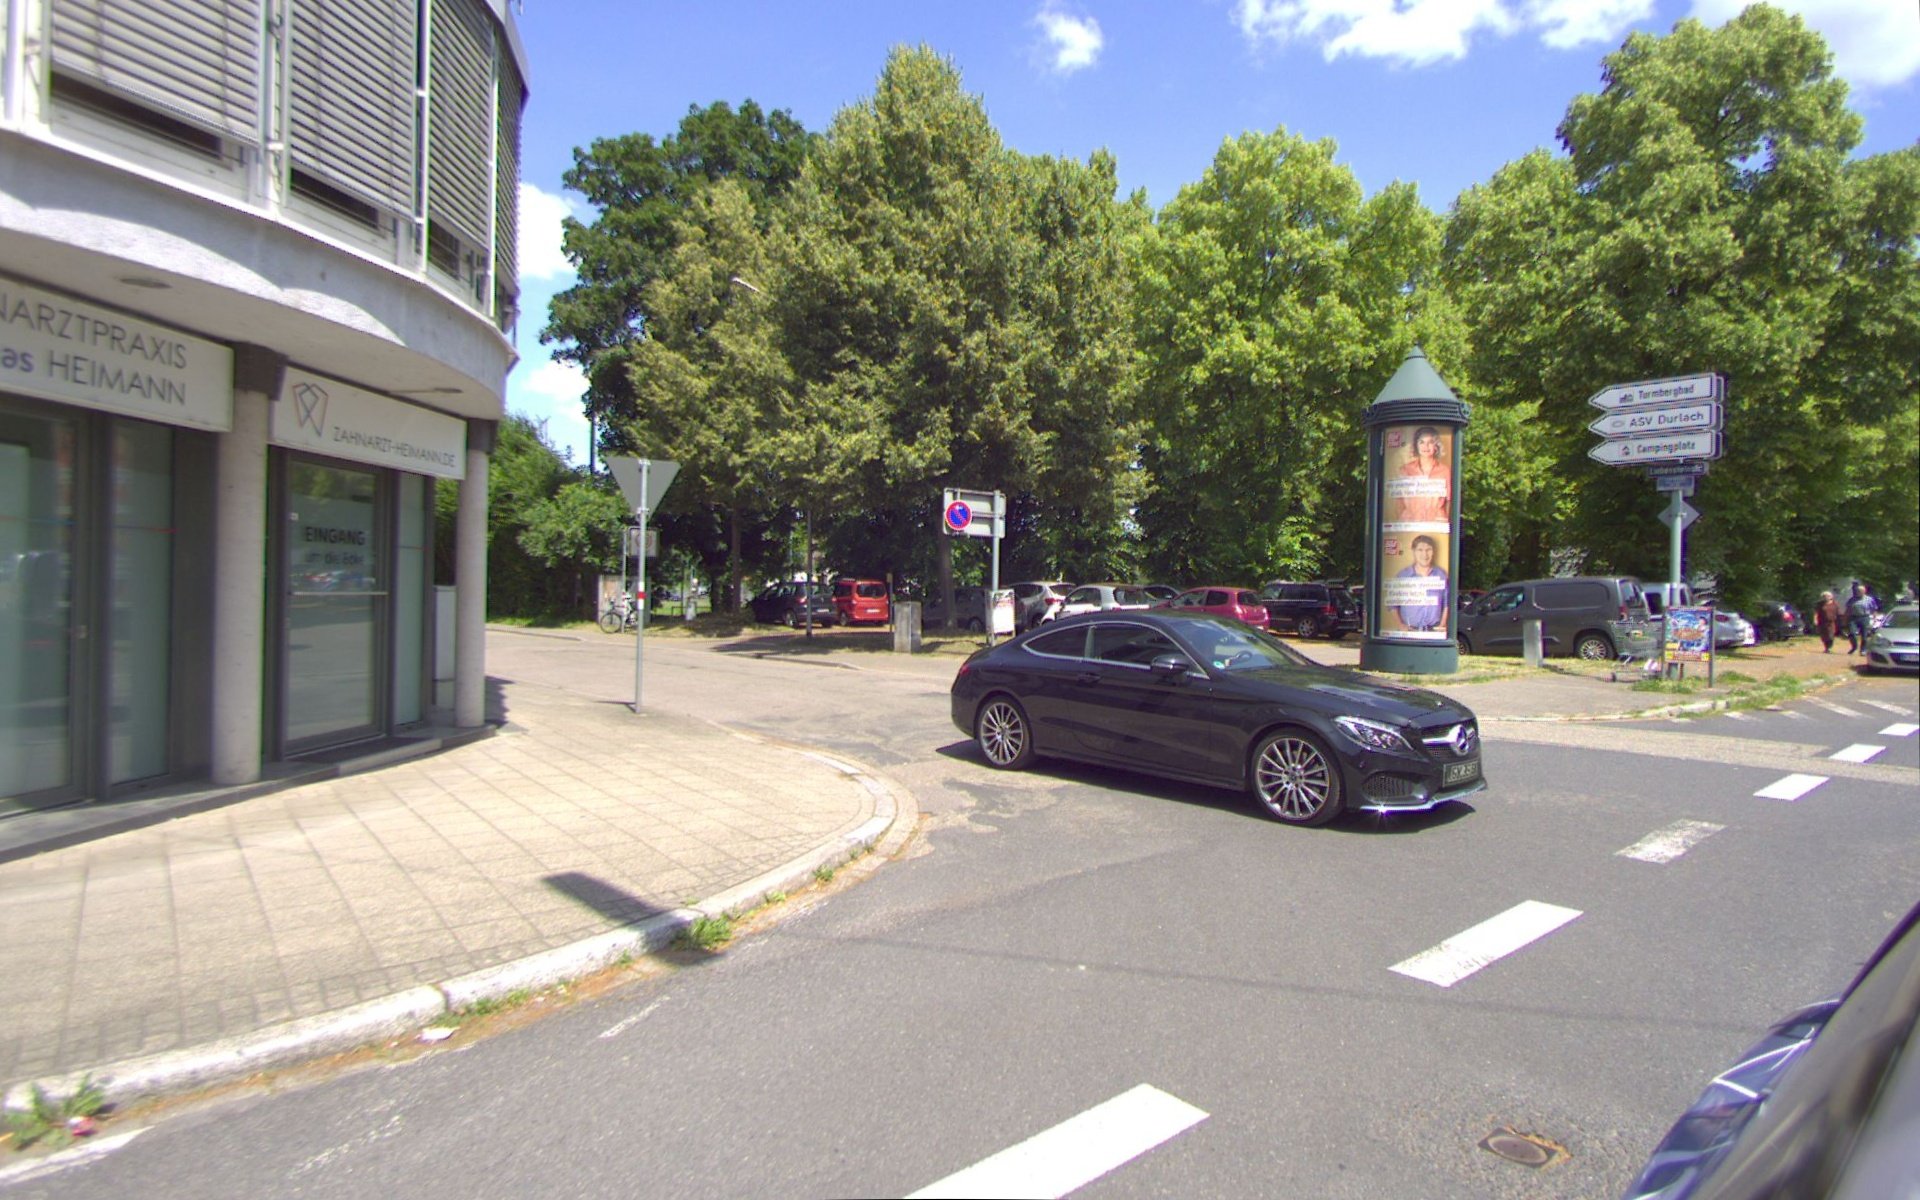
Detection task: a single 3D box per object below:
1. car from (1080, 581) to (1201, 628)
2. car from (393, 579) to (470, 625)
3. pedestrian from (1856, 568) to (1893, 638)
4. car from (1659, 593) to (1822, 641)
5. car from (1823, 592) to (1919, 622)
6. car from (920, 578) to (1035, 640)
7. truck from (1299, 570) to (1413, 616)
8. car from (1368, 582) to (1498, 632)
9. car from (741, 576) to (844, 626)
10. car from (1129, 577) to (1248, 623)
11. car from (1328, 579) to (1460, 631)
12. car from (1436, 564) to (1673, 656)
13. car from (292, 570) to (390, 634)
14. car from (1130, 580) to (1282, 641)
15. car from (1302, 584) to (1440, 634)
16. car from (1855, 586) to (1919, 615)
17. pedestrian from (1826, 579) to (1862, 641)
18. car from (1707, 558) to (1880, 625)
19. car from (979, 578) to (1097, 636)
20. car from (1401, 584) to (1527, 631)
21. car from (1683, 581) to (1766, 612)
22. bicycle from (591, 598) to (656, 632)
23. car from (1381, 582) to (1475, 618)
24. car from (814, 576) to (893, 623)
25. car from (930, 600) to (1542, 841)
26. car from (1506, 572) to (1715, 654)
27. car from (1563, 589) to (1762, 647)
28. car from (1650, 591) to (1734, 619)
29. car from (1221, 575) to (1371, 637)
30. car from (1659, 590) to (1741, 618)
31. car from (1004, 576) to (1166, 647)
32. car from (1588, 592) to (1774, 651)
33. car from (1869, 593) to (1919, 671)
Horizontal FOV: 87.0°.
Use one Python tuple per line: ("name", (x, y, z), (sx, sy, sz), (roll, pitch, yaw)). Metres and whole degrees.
("car", (5.934, 0.155, 33.654), (1.657, 1.486, 3.913), (0, -1, -35))
("car", (-19.169, 0.053, 36.622), (1.543, 1.574, 3.993), (0, 0, -42))
("pedestrian", (23.534, 0.074, 26.045), (0.724, 1.786, 0.618), (0, 0, -41))
("car", (25.868, 0.554, 33.654), (1.686, 1.492, 3.996), (0, -1, -38))
("car", (43.827, 0.322, 48.447), (3.834, 1.375, 1.605), (0, 0, 42))
("car", (0.446, 0.197, 28.386), (1.564, 1.573, 3.068), (0, 2, -41))
("truck", (16.727, -0.319, 42.899), (1.844, 1.837, 4.133), (0, 1, -37))
("car", (17.500, 0.203, 37.590), (1.771, 1.682, 3.998), (0, 2, -38))
("car", (-6.140, -0.004, 36.725), (1.839, 1.714, 3.993), (0, 1, -42))
("car", (7.994, -0.024, 35.593), (1.707, 1.478, 3.805), (0, 1, -41))
("car", (15.426, 0.144, 36.132), (1.652, 1.661, 3.994), (0, 2, -41))
("car", (12.687, 0.169, 21.759), (1.981, 1.773, 3.994), (0, 0, -40))
("car", (-18.861, 0.025, 30.735), (1.601, 1.756, 4.374), (-3, 3, -44))
("car", (6.946, 0.248, 28.884), (1.652, 1.547, 3.994), (0, 2, -41))
("car", (13.772, 0.256, 34.068), (1.652, 1.501, 3.994), (0, 2, -41))
("car", (52.573, 0.036, 56.472), (1.822, 1.546, 3.757), (0, 1, -43))
("pedestrian", (23.146, 0.253, 26.503), (0.724, 1.613, 0.618), (0, 0, -41))
("car", (30.698, -0.255, 37.395), (2.068, 2.305, 4.612), (0, -1, -39))
("car", (2.284, 0.175, 30.262), (1.564, 1.573, 3.386), (0, 2, -41))
("car", (19.550, 0.249, 39.356), (1.771, 1.606, 3.998), (0, 2, -38))
("car", (53.657, -0.257, 71.098), (1.824, 2.022, 4.367), (0, 2, -43))
("bicycle", (-10.823, 0.478, 32.529), (1.881, 0.813, 0.707), (-9, 3, -20))
("car", (23.001, -0.010, 49.847), (1.706, 1.607, 3.809), (0, 2, -37))
("car", (-4.097, -0.060, 38.437), (1.683, 1.688, 3.808), (-1, 1, -28))
("car", (1.959, 0.712, 8.368), (1.965, 1.382, 4.588), (0, 0, -41))
("car", (14.829, 0.236, 23.205), (1.636, 1.688, 3.766), (0, 1, -44))
("car", (18.316, 0.425, 26.519), (1.777, 1.416, 3.993), (0, 0, -41))
("car", (43.362, 0.272, 60.002), (1.709, 1.483, 3.802), (0, 2, -43))
("car", (10.125, 0.120, 30.671), (1.673, 1.699, 3.992), (0, 2, -43))
("car", (45.041, 0.214, 61.659), (1.709, 1.603, 3.801), (0, 1, -44))
("car", (3.090, 0.229, 25.647), (1.652, 1.573, 3.994), (0, 2, -41))
("car", (20.351, 0.557, 28.708), (1.638, 1.446, 3.997), (0, 2, -39))
("car", (20.244, 0.619, 20.872), (3.823, 1.504, 1.770), (0, 0, -41))
